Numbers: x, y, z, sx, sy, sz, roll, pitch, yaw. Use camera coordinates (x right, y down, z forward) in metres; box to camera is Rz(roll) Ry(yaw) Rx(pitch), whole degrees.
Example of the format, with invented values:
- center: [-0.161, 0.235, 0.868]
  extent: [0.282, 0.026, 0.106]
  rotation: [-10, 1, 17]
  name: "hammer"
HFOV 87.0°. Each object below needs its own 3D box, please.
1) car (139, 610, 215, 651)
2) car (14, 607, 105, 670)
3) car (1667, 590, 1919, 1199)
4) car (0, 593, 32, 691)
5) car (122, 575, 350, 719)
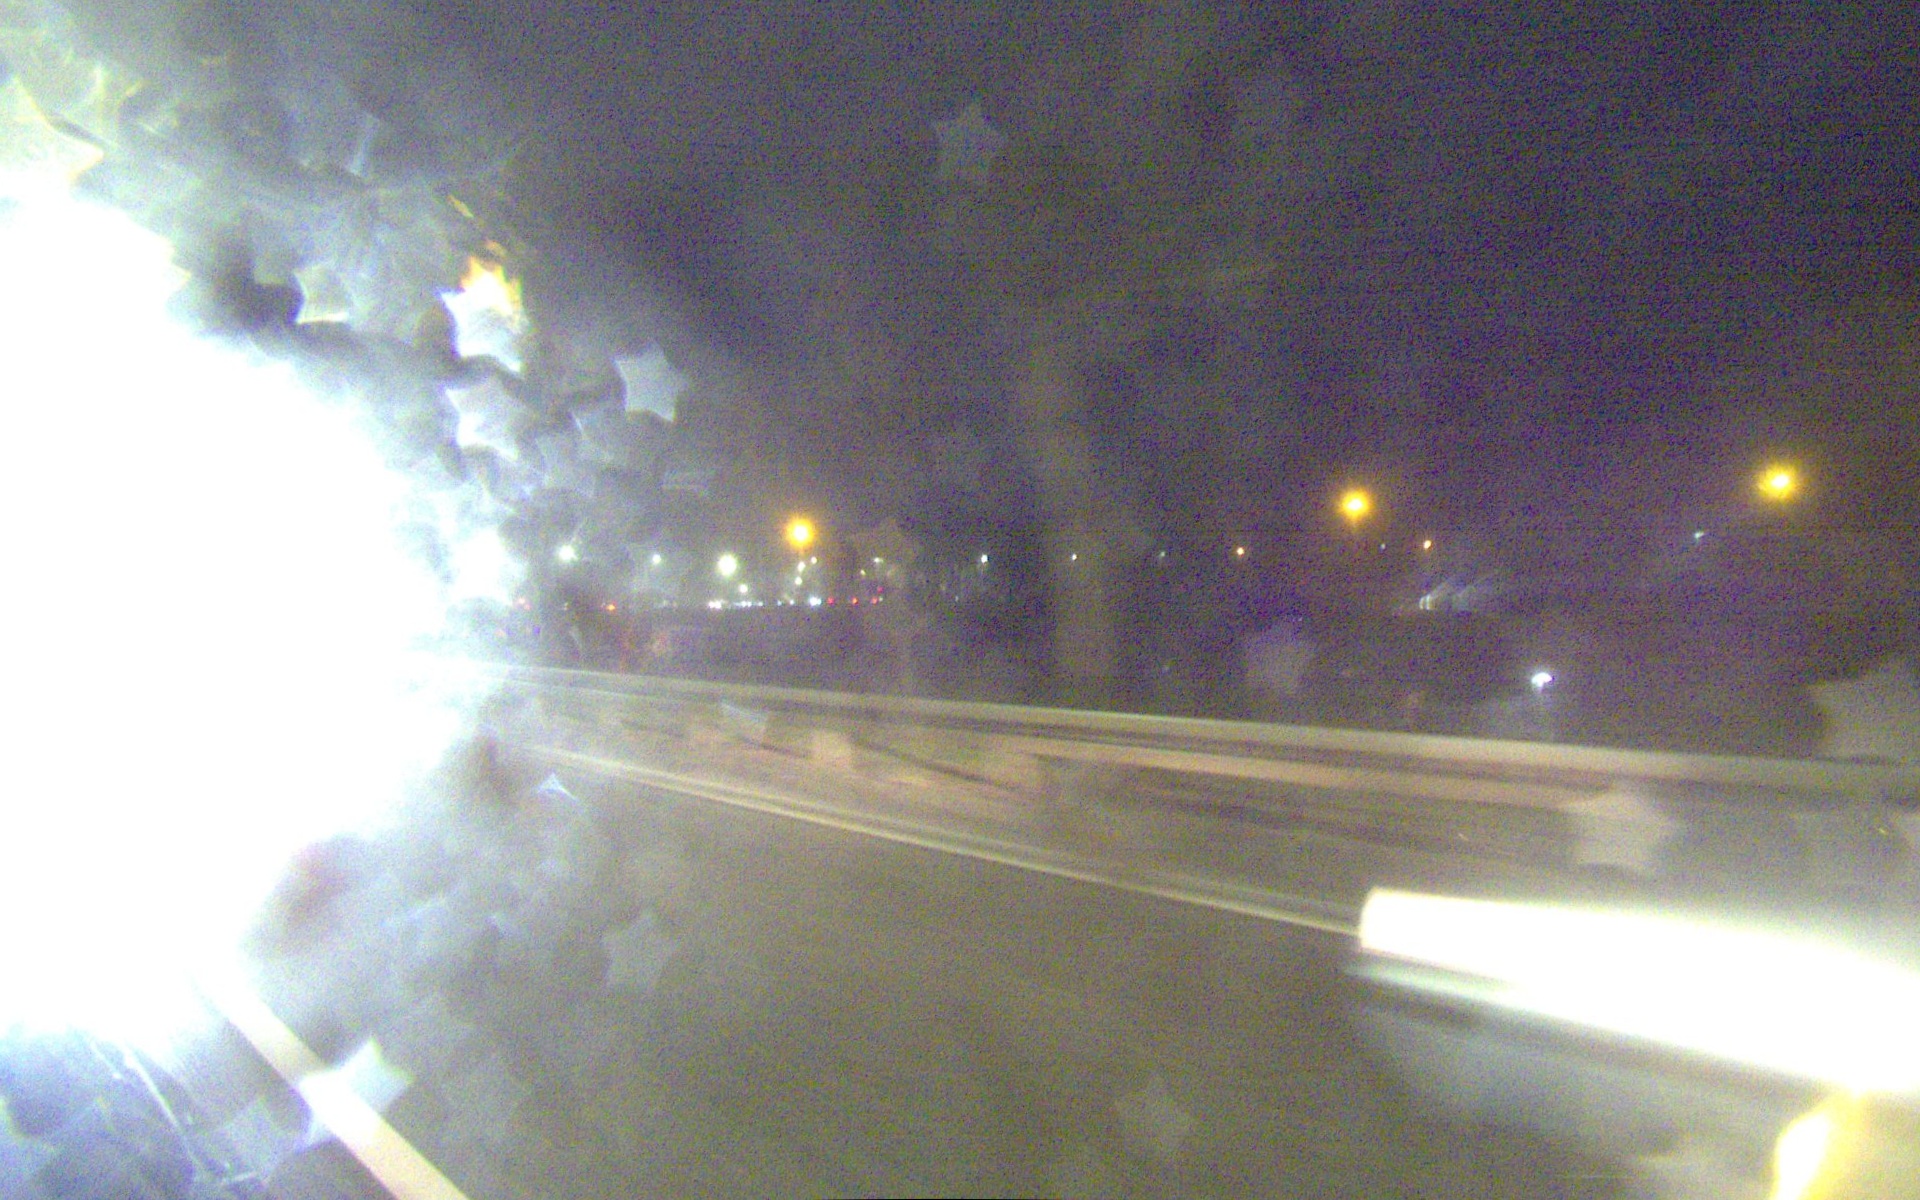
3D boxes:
- center: [-39.545, 1.531, 51.219]
  extent: [1.965, 1.949, 4.013]
  rotation: [-1, -1, -21]
  name: "car"
- center: [-30.188, 1.248, 34.027]
  extent: [1.967, 1.949, 4.008]
  rotation: [-1, -1, -37]
  name: "car"
- center: [3.433, 0.665, 1.432]
  extent: [3.859, 1.415, 1.711]
  rotation: [-1, -1, 40]
  name: "car"
- center: [-20.332, 0.859, 20.470]
  extent: [1.906, 1.887, 4.009]
  rotation: [-1, -1, -37]
  name: "car"
- center: [-12.227, 0.693, 16.904]
  extent: [2.420, 2.003, 5.499]
  rotation: [-1, -1, -43]
  name: "car"
